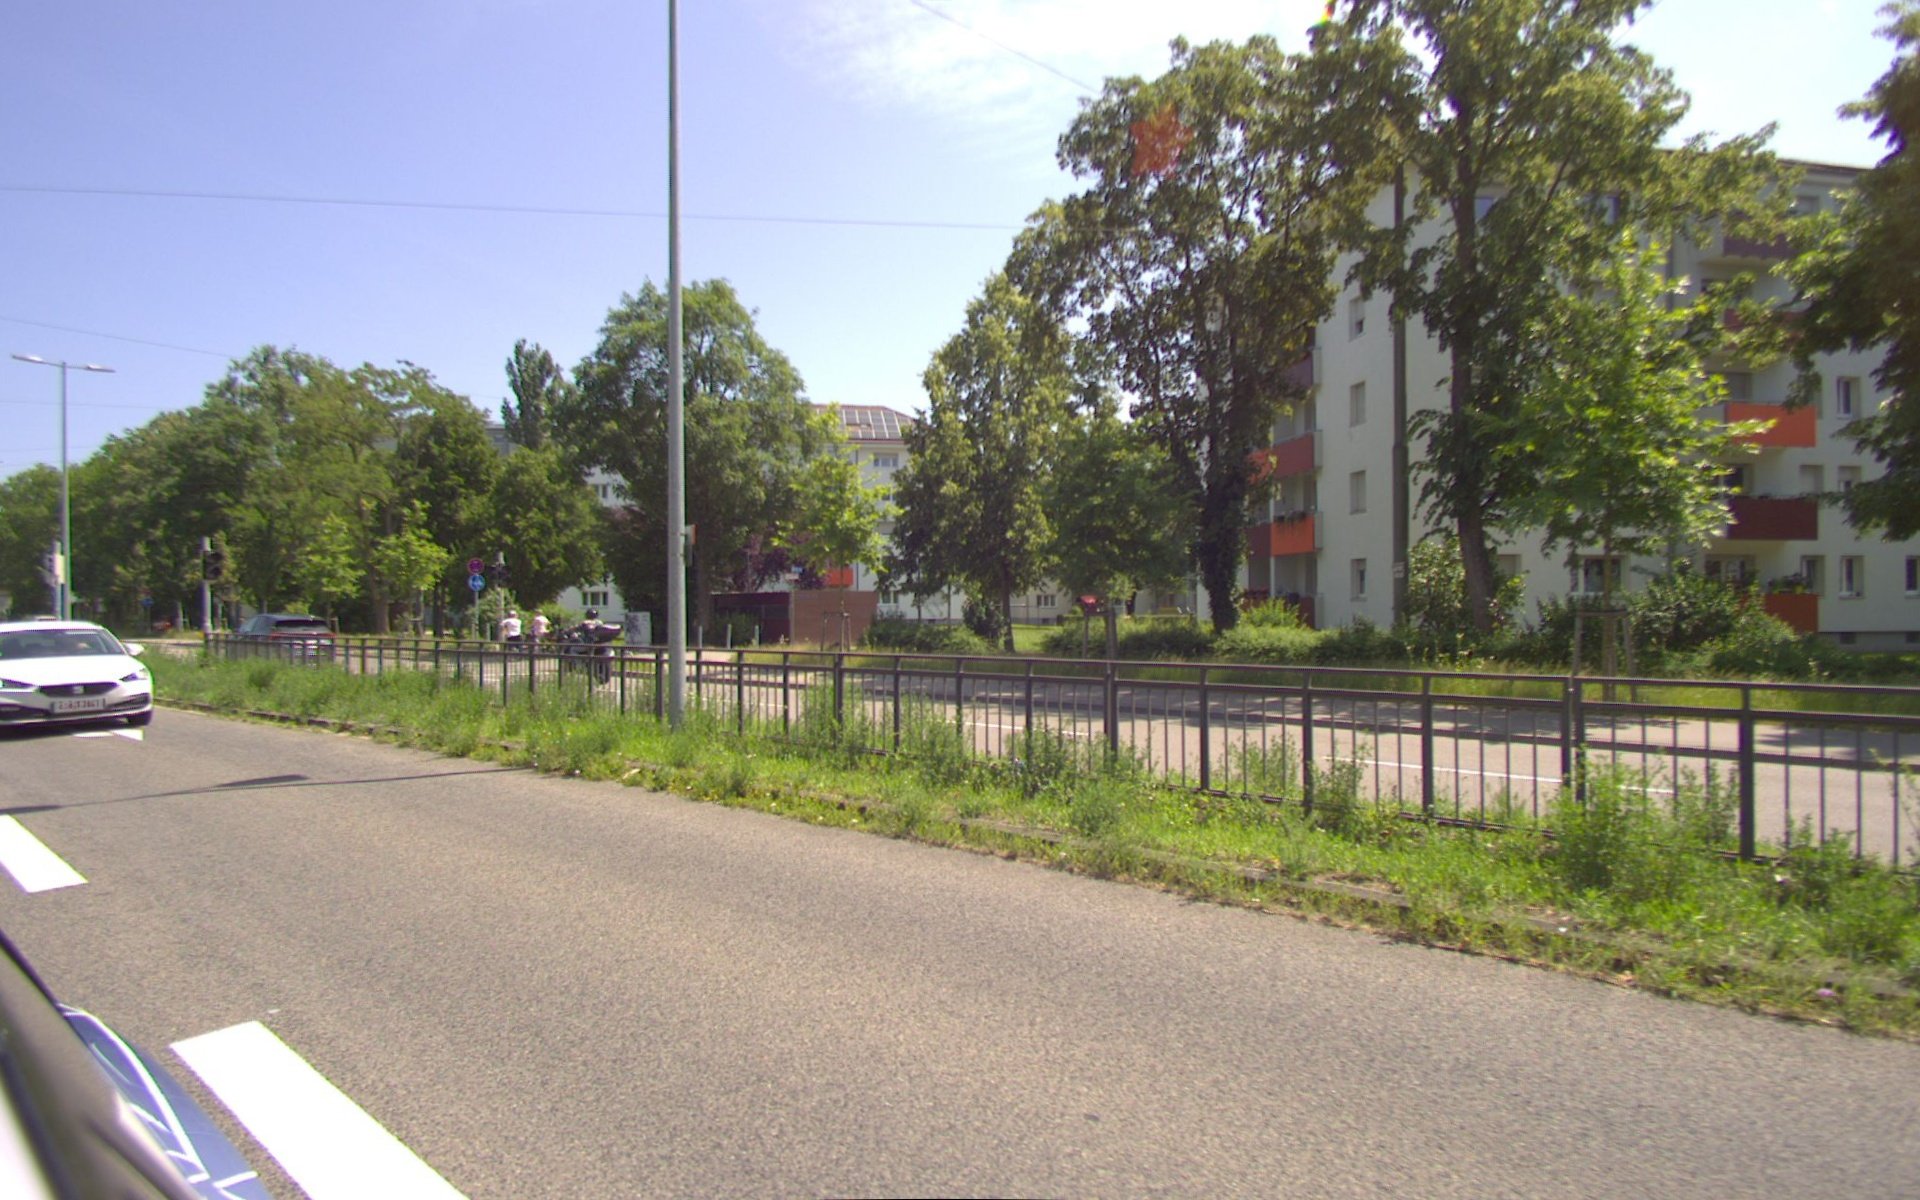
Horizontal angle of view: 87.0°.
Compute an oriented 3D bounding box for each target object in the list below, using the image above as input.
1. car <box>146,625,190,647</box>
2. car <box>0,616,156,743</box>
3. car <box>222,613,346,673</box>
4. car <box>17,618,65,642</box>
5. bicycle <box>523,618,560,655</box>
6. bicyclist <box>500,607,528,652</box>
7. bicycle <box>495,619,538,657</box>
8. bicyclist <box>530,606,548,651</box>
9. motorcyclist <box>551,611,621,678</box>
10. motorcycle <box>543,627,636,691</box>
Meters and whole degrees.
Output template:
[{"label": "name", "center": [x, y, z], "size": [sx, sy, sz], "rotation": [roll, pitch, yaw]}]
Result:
[{"label": "car", "center": [-62.108, 2.811, 79.334], "size": [3.998, 1.597, 1.973], "rotation": [-1, -2, 41]}, {"label": "car", "center": [-12.784, 1.003, 14.082], "size": [4.109, 1.479, 1.750], "rotation": [-1, 1, 41]}, {"label": "car", "center": [-18.926, 1.160, 28.284], "size": [4.156, 1.555, 1.739], "rotation": [-1, -1, 39]}, {"label": "car", "center": [-63.172, 2.063, 69.576], "size": [4.342, 1.584, 1.803], "rotation": [-1, -1, 39]}, {"label": "bicycle", "center": [-13.112, 1.129, 31.693], "size": [1.379, 1.102, 0.548], "rotation": [0, 1, 43]}, {"label": "bicyclist", "center": [-13.842, 0.910, 31.400], "size": [0.755, 1.356, 0.539], "rotation": [-1, -2, 40]}, {"label": "bicycle", "center": [-13.715, 1.156, 31.288], "size": [1.615, 1.141, 0.582], "rotation": [-1, -2, 42]}, {"label": "bicyclist", "center": [-13.244, 0.888, 31.820], "size": [0.440, 1.402, 0.353], "rotation": [-2, -1, 44]}, {"label": "motorcyclist", "center": [-8.189, 0.955, 22.119], "size": [1.509, 1.414, 0.729], "rotation": [-1, -1, 36]}, {"label": "motorcycle", "center": [-8.117, 1.256, 22.102], "size": [2.392, 1.309, 0.797], "rotation": [-1, -1, 39]}]
